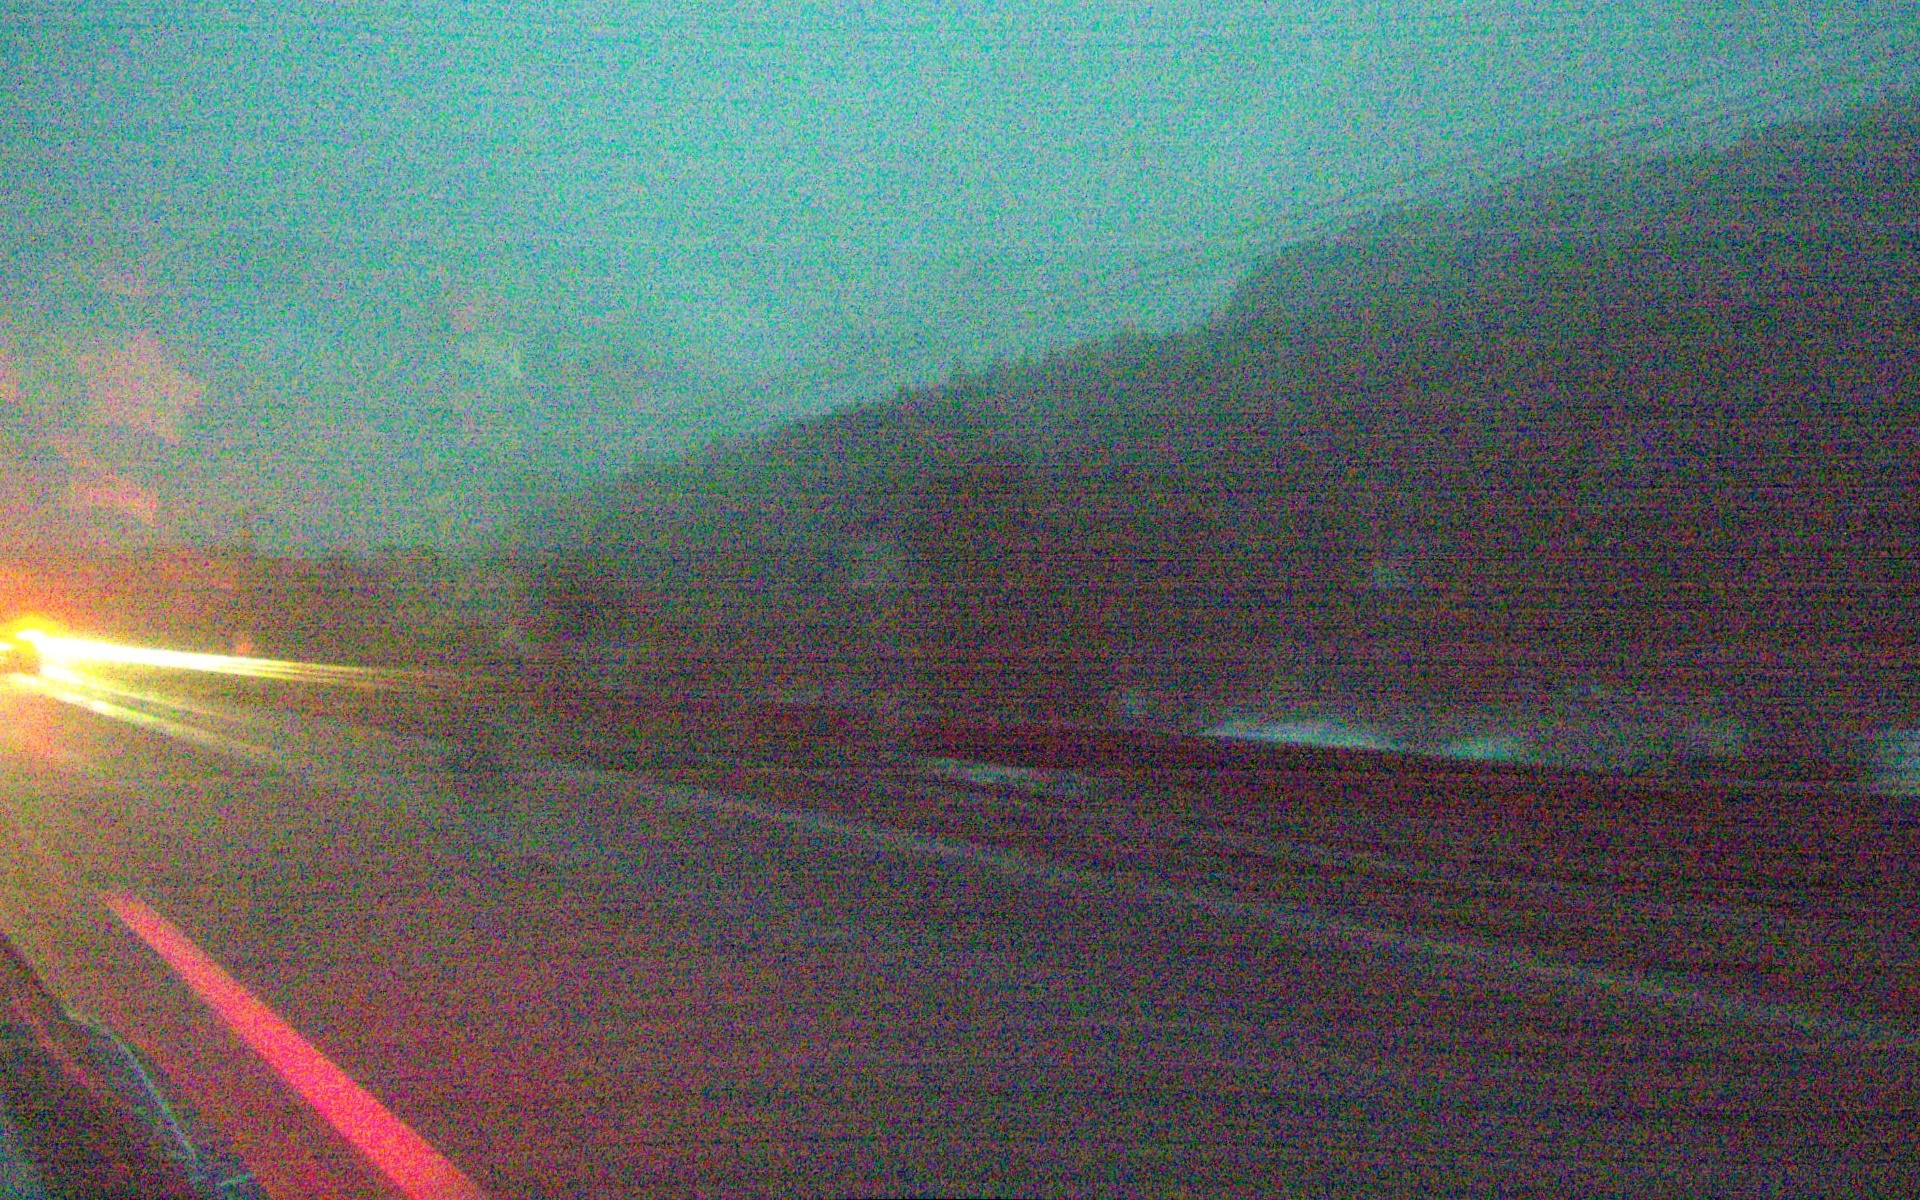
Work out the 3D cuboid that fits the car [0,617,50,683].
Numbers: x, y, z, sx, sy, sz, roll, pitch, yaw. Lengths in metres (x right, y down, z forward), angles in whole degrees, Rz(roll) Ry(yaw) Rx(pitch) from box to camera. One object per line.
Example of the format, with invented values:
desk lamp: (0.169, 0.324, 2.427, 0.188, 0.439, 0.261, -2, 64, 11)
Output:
car: (-24.031, 1.193, 25.013, 3.869, 1.567, 1.799, -1, -1, 41)
